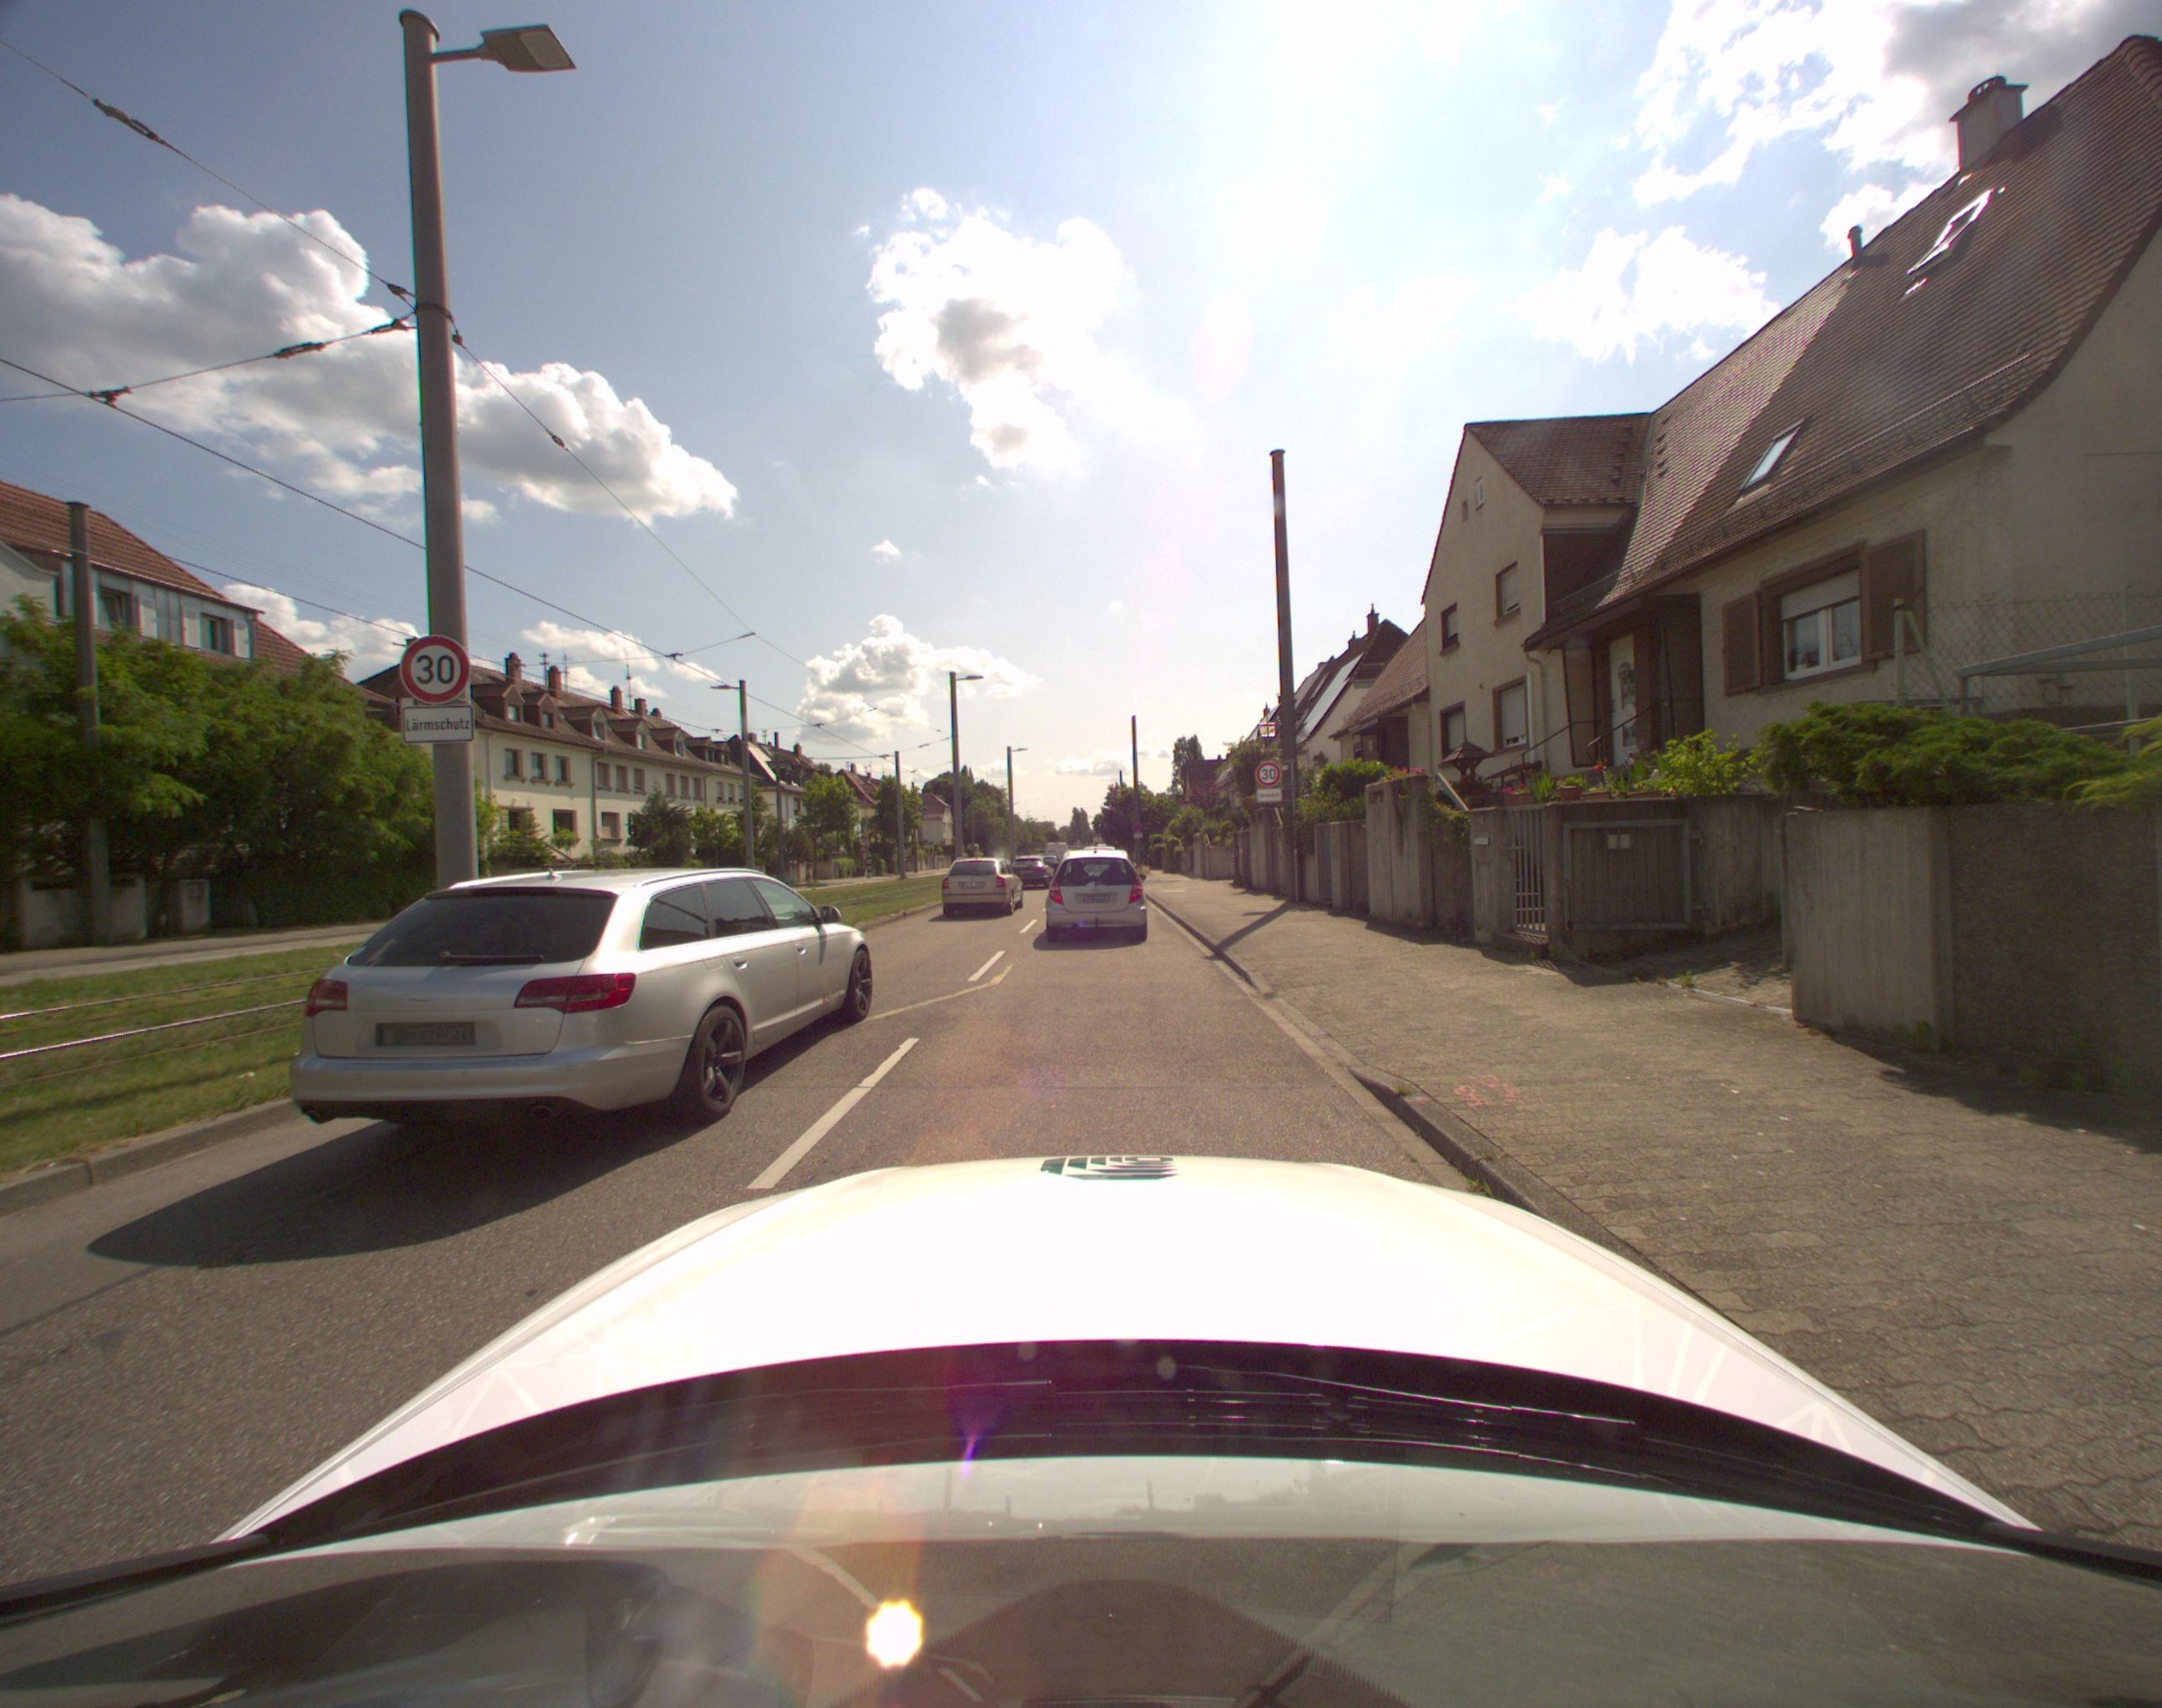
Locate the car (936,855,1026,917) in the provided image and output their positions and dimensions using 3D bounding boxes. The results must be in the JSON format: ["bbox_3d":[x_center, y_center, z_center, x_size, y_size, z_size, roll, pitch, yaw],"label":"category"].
[{"bbox_3d":[-2.528,0.766,21.485,1.725,1.449,4.124,-1,0,1],"label":"car"}]

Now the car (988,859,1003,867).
[{"bbox_3d":[-15.650,1.644,148.844,1.908,1.477,4.566,-1,0,3],"label":"car"}]

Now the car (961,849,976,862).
[{"bbox_3d":[-20.447,0.304,147.822,1.908,2.330,4.566,-1,0,3],"label":"car"}]

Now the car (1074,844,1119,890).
[{"bbox_3d":[0.653,0.510,33.922,1.723,1.762,4.018,-1,0,1],"label":"car"}]

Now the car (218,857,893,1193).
[{"bbox_3d":[-2.915,0.777,6.025,1.788,1.472,4.724,-1,0,2],"label":"car"}]

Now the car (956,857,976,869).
[{"bbox_3d":[-16.002,1.235,113.583,1.908,1.477,4.566,-1,0,3],"label":"car"}]

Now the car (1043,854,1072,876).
[{"bbox_3d":[-1.530,0.701,54.989,1.847,1.388,4.513,-1,0,-1],"label":"car"}]

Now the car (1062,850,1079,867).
[{"bbox_3d":[-1.303,0.515,102.757,1.908,2.077,4.566,-1,0,3],"label":"car"}]

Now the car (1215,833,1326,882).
[{"bbox_3d":[7.692,0.140,33.275,3.977,1.684,1.998,-4,0,-3],"label":"car"}]

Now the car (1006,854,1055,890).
[{"bbox_3d":[-2.241,0.771,37.315,1.910,1.477,4.562,-1,0,1],"label":"car"}]

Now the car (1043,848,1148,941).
[{"bbox_3d":[0.273,0.672,15.556,1.724,1.517,4.017,-1,0,1],"label":"car"}]

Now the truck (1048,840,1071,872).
[{"bbox_3d":[-1.802,0.170,70.430,1.847,2.552,5.853,-1,0,0],"label":"truck"}]
